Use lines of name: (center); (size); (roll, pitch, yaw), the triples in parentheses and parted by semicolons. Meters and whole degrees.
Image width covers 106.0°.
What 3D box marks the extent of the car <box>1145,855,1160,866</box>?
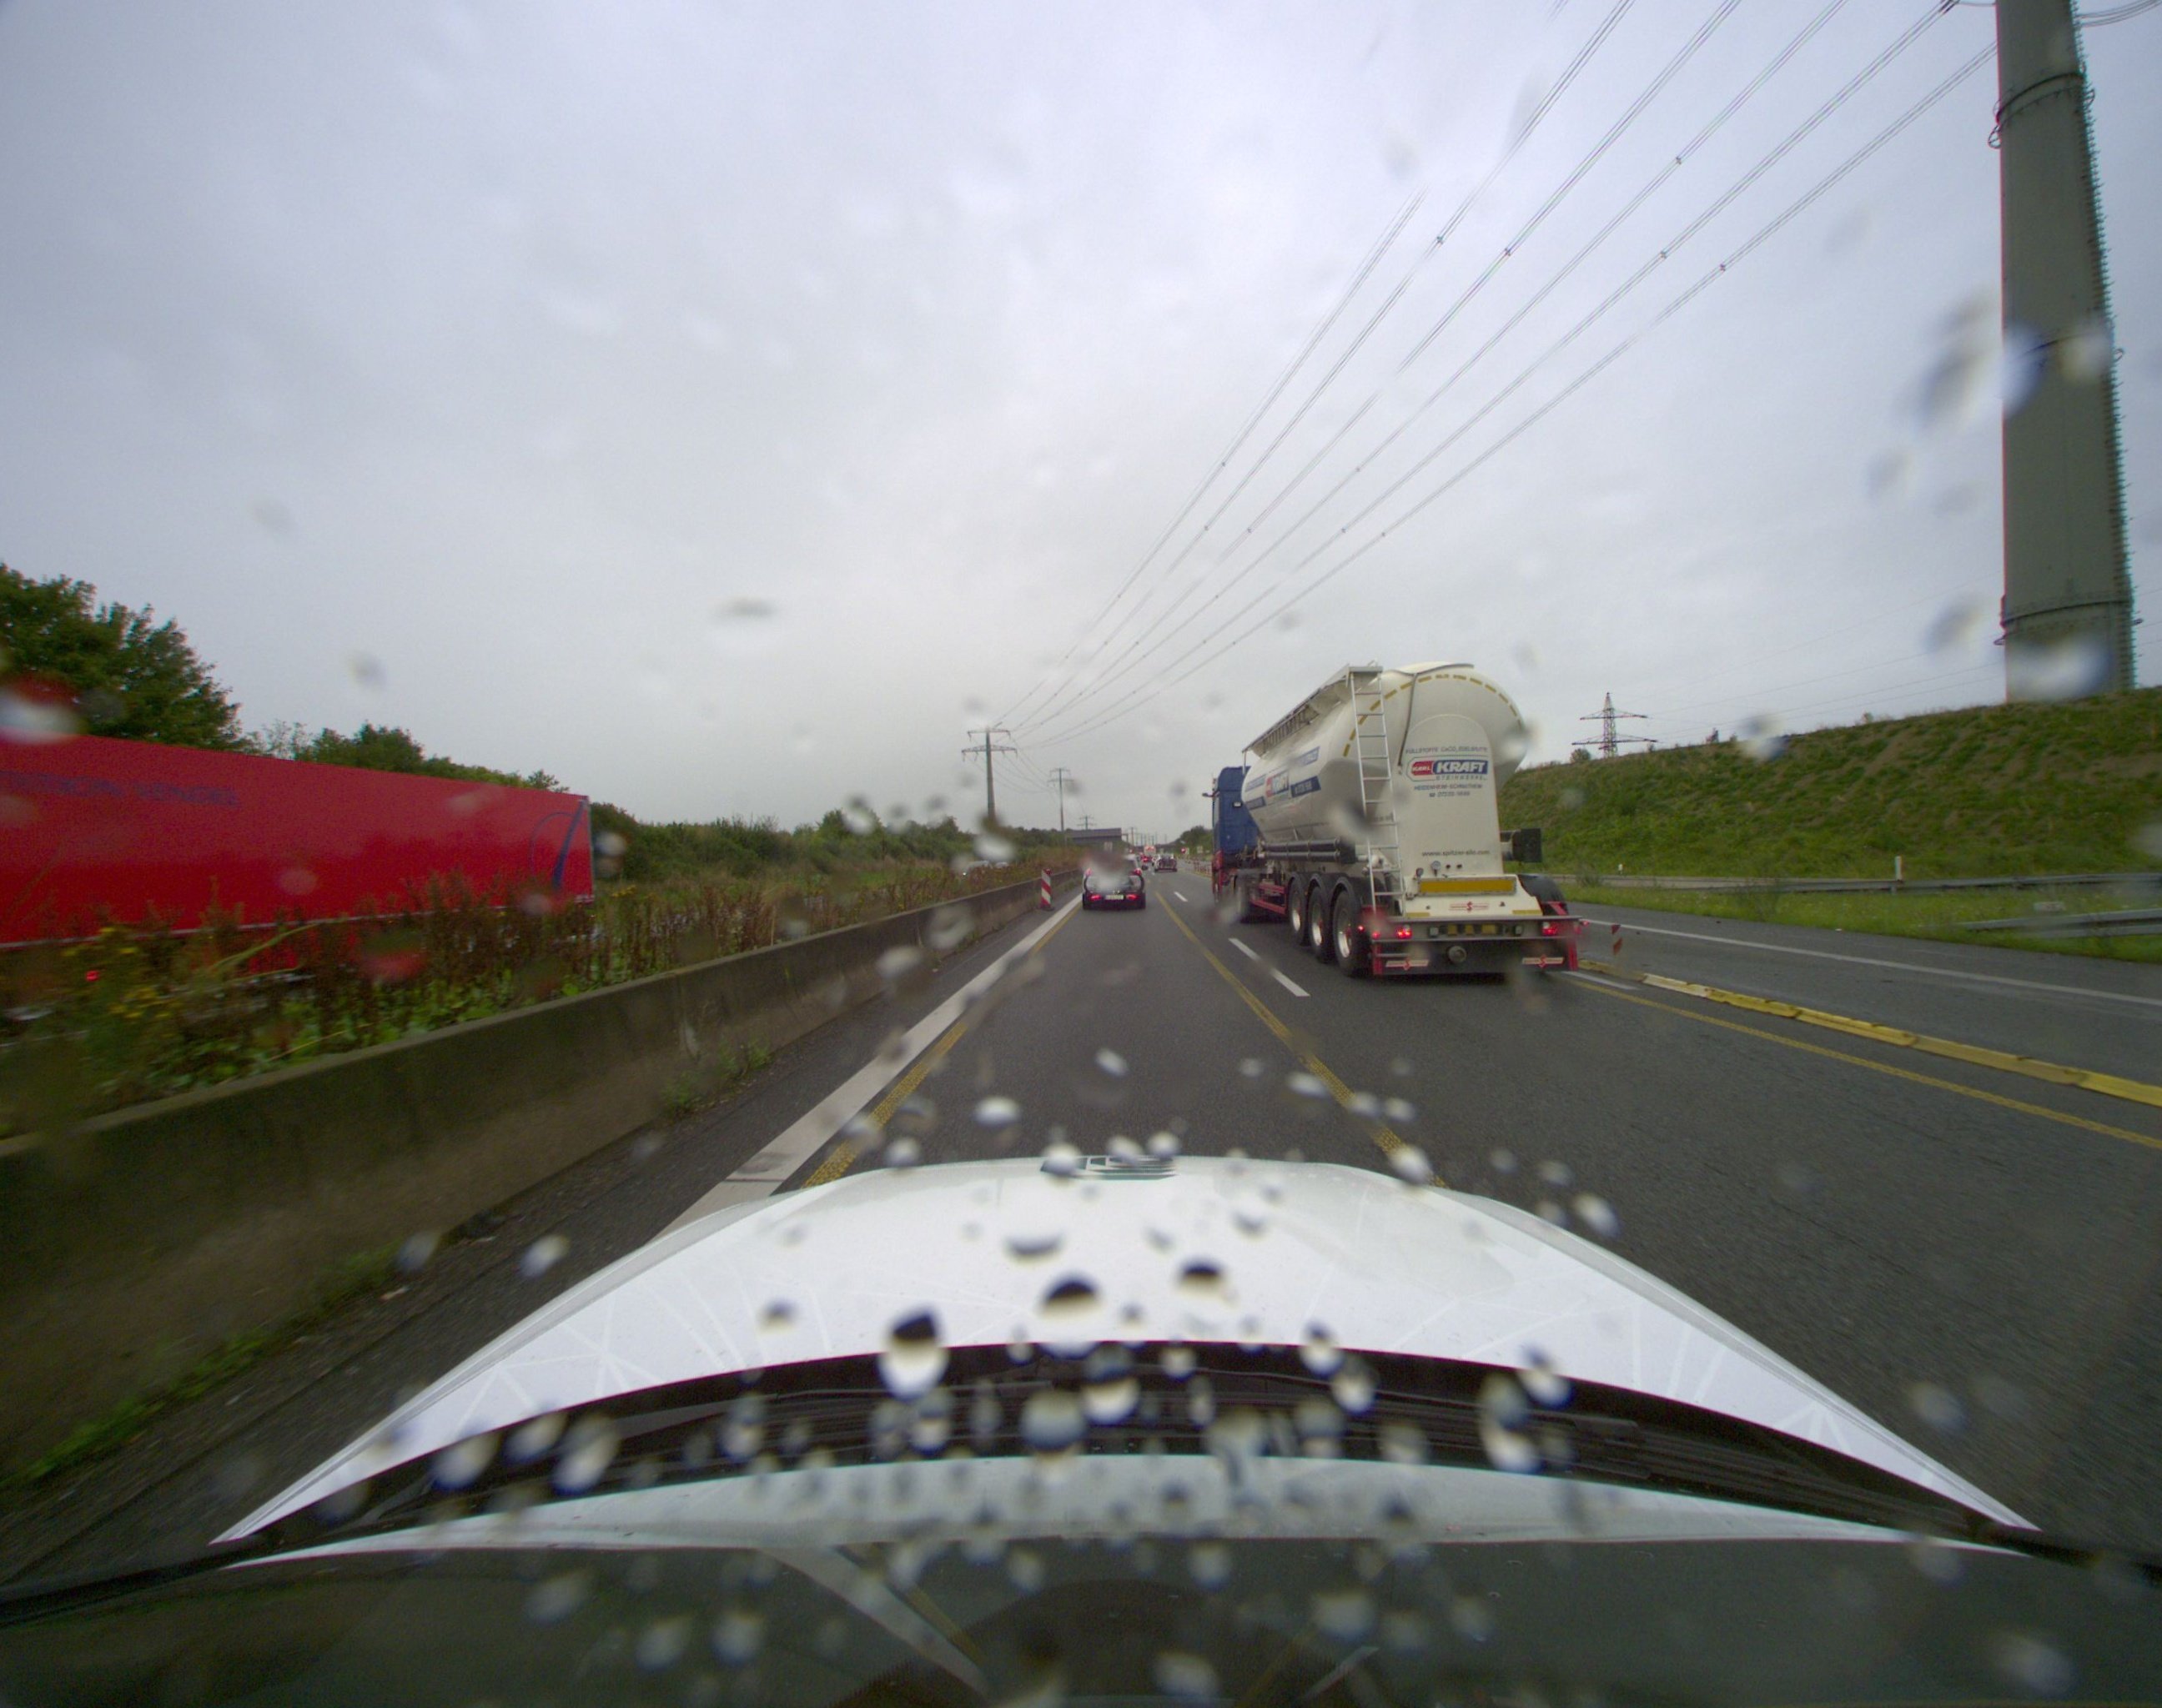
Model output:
car: (9.803, 0.901, 112.227); (1.862, 1.535, 4.201); (-2, 0, 4)

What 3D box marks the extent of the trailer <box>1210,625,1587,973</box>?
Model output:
trailer: (4.497, -0.534, 15.208); (2.510, 3.834, 12.354); (-1, -1, 2)

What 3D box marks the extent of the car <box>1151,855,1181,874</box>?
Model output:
car: (7.433, 0.919, 71.377); (2.039, 1.596, 5.800); (-1, 0, 0)

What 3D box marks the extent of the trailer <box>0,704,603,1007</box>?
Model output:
trailer: (-14.923, 0.097, 15.449); (3.026, 3.814, 13.984); (-1, -1, 2)

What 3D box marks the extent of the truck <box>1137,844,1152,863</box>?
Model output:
truck: (13.417, -0.147, 172.294); (2.636, 3.891, 4.029); (-1, -1, 0)

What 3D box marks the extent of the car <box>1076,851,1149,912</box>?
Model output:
car: (0.952, 0.745, 24.122); (1.920, 1.611, 4.598); (-1, 0, 2)

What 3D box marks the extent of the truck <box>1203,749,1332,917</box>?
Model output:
truck: (4.695, -0.468, 21.202); (2.538, 3.947, 4.002); (-1, -1, 2)

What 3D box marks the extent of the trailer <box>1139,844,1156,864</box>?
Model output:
trailer: (13.384, 0.149, 165.642); (2.629, 3.893, 10.541); (-1, -1, 0)

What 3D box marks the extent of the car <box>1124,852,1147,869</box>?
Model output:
car: (5.390, 0.650, 81.135); (1.987, 1.584, 4.000); (-1, 0, 0)

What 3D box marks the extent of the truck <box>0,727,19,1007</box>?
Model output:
truck: (-15.242, 0.148, 8.010); (3.012, 3.531, 4.929); (-1, -1, 2)

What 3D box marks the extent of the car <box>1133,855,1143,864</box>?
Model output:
car: (13.517, 1.337, 193.624); (1.987, 2.014, 3.999); (-1, -1, 0)

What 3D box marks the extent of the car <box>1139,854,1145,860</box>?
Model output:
car: (18.268, 0.898, 244.728); (1.646, 2.013, 4.005); (-1, 0, 4)
